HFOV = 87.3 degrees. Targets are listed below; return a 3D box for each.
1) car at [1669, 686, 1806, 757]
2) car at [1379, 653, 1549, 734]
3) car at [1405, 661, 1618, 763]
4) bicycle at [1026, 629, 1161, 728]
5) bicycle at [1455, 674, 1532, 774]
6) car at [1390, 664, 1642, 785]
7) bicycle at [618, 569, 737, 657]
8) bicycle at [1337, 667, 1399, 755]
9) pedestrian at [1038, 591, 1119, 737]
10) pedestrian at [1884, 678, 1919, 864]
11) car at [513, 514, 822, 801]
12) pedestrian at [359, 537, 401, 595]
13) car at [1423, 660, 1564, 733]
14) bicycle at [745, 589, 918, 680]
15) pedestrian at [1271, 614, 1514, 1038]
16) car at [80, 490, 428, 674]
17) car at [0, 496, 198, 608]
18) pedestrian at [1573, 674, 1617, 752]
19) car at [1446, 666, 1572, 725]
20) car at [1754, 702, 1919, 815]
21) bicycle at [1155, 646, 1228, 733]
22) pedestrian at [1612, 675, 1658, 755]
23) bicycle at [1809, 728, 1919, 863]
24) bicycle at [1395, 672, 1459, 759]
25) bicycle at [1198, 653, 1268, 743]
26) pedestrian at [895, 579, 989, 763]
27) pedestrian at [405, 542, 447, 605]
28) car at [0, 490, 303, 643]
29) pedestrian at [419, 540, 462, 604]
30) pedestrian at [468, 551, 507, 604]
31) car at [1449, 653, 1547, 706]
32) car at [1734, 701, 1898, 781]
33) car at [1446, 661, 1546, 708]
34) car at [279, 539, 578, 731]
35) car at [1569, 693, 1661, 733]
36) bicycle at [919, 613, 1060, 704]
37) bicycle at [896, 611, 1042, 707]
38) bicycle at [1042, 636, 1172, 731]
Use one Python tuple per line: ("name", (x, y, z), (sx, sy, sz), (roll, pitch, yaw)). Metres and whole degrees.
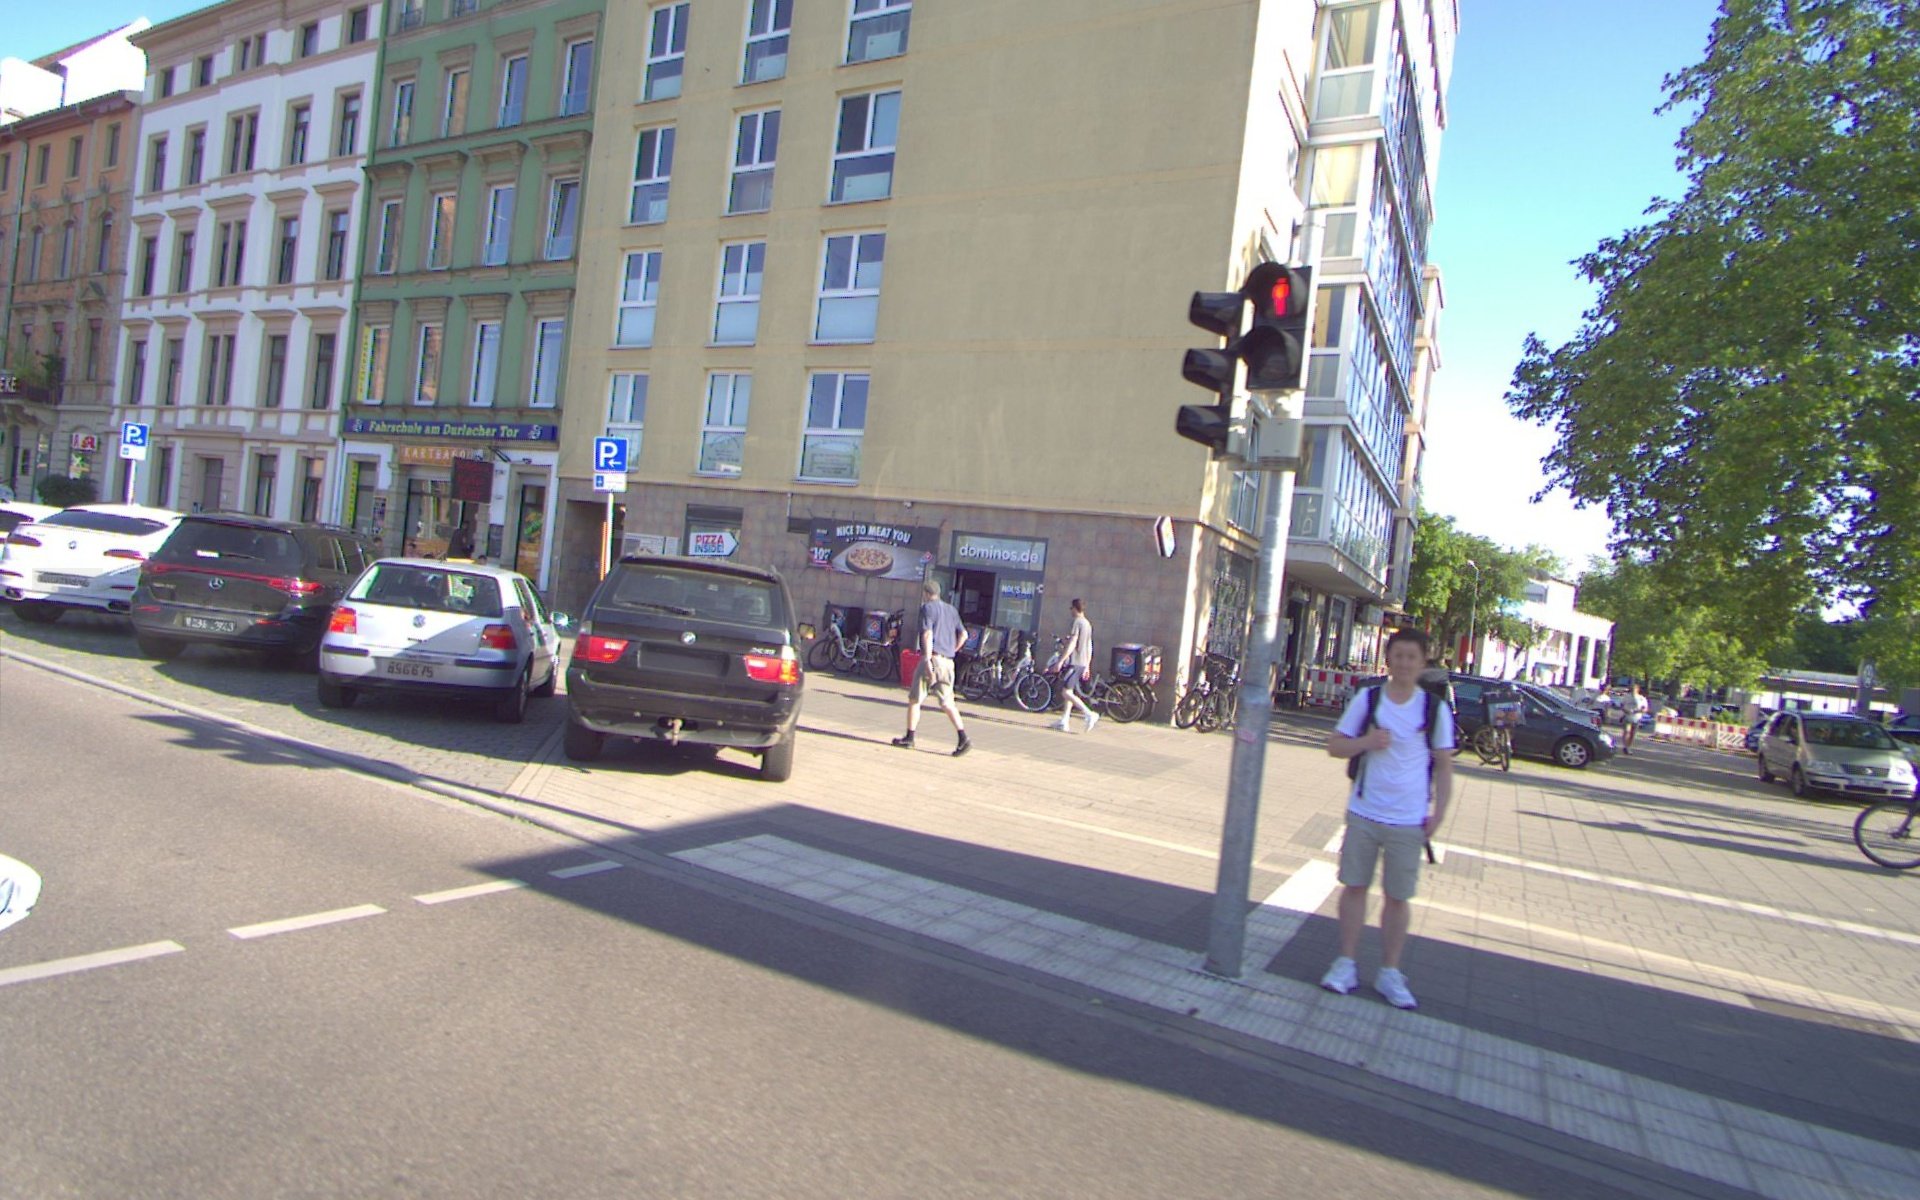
("car", (32.075, 4.977, 41.640), (3.930, 2.025, 1.853), (10, 3, 27))
("car", (13.973, 2.525, 27.976), (3.931, 1.438, 1.852), (10, 3, 30))
("car", (12.478, 2.470, 22.928), (3.931, 1.438, 1.852), (10, 3, 30))
("bicycle", (2.069, 1.195, 15.695), (1.867, 1.265, 0.658), (7, 2, 26))
("bicycle", (8.684, 1.980, 16.452), (0.801, 1.363, 1.996), (7, 1, 23))
("car", (11.192, 2.445, 20.581), (4.152, 1.502, 1.853), (10, 3, 26))
("bicycle", (-5.629, 0.248, 20.009), (2.192, 1.375, 0.930), (10, 3, 32))
("bicycle", (7.077, 1.877, 17.404), (0.801, 1.265, 1.996), (7, 1, 23))
("pedestrian", (1.641, 0.872, 14.027), (0.816, 1.890, 0.753), (7, 1, -1))
("pedestrian", (10.015, 1.627, 9.732), (1.027, 2.040, 1.254), (5, 4, -44))
("car", (-2.507, 0.428, 9.295), (1.929, 1.835, 4.242), (8, -1, -12))
("pedestrian", (-14.078, -0.823, 24.427), (0.581, 1.336, 0.516), (7, 1, 22))
("car", (18.076, 3.206, 34.204), (3.931, 1.656, 1.852), (10, 3, 30))
("bicycle", (-2.380, 0.615, 18.446), (3.008, 1.280, 0.987), (7, 1, 28))
("pedestrian", (1.985, 0.986, 4.738), (0.739, 1.749, 0.698), (7, 1, 13))
("car", (-8.238, -0.184, 12.302), (1.930, 1.616, 4.240), (8, -1, -14))
("car", (-14.206, -0.786, 15.772), (1.930, 1.482, 4.103), (7, 0, -12))
("pedestrian", (16.437, 2.906, 26.048), (0.741, 1.890, 0.829), (7, 1, 32))
("car", (20.746, 3.566, 38.133), (3.931, 1.438, 1.852), (10, 3, 30))
("car", (18.122, 3.162, 20.814), (1.889, 1.719, 3.992), (5, 0, 29))
("bicycle", (3.842, 1.436, 16.580), (0.648, 1.265, 1.897), (7, 1, 25))
("pedestrian", (17.074, 2.890, 25.470), (0.741, 1.890, 0.829), (7, 1, 32))
("bicycle", (9.991, 2.074, 9.728), (1.027, 1.138, 2.498), (6, 4, -44))
("bicycle", (7.832, 1.901, 16.944), (0.801, 1.216, 1.996), (7, 1, 23))
("bicycle", (4.443, 1.540, 16.266), (0.648, 1.265, 1.897), (7, 1, 25))
("pedestrian", (-0.210, 0.756, 11.029), (0.687, 1.890, 0.751), (6, 1, -13))
("pedestrian", (-12.043, -0.594, 22.679), (0.582, 1.336, 0.515), (7, 1, 36))
("car", (-11.116, -0.423, 13.958), (1.930, 1.589, 4.239), (8, -1, -15))
("pedestrian", (-11.484, -0.615, 22.244), (0.582, 1.336, 0.515), (7, 1, 36))
("pedestrian", (-11.240, -0.532, 23.923), (0.582, 1.175, 0.515), (7, 1, 36))
("car", (26.246, 3.853, 49.149), (3.931, 1.803, 1.852), (10, 3, 30))
("car", (30.754, 5.027, 36.308), (3.930, 1.893, 1.853), (10, 3, 27))
("car", (25.263, 3.943, 47.451), (3.931, 1.438, 1.852), (10, 3, 30))
("car", (-5.204, 0.326, 10.453), (1.761, 1.415, 3.883), (8, -2, -15))
("car", (37.506, 6.471, 57.657), (1.845, 1.438, 3.948), (6, 3, -44))
("bicycle", (0.495, 0.980, 17.338), (2.258, 1.265, 0.658), (7, 2, 27))
("bicycle", (0.134, 0.948, 16.649), (2.258, 1.265, 0.658), (7, 2, 27))
("bicycle", (2.383, 1.324, 16.359), (1.867, 1.265, 0.658), (7, 2, 26))
